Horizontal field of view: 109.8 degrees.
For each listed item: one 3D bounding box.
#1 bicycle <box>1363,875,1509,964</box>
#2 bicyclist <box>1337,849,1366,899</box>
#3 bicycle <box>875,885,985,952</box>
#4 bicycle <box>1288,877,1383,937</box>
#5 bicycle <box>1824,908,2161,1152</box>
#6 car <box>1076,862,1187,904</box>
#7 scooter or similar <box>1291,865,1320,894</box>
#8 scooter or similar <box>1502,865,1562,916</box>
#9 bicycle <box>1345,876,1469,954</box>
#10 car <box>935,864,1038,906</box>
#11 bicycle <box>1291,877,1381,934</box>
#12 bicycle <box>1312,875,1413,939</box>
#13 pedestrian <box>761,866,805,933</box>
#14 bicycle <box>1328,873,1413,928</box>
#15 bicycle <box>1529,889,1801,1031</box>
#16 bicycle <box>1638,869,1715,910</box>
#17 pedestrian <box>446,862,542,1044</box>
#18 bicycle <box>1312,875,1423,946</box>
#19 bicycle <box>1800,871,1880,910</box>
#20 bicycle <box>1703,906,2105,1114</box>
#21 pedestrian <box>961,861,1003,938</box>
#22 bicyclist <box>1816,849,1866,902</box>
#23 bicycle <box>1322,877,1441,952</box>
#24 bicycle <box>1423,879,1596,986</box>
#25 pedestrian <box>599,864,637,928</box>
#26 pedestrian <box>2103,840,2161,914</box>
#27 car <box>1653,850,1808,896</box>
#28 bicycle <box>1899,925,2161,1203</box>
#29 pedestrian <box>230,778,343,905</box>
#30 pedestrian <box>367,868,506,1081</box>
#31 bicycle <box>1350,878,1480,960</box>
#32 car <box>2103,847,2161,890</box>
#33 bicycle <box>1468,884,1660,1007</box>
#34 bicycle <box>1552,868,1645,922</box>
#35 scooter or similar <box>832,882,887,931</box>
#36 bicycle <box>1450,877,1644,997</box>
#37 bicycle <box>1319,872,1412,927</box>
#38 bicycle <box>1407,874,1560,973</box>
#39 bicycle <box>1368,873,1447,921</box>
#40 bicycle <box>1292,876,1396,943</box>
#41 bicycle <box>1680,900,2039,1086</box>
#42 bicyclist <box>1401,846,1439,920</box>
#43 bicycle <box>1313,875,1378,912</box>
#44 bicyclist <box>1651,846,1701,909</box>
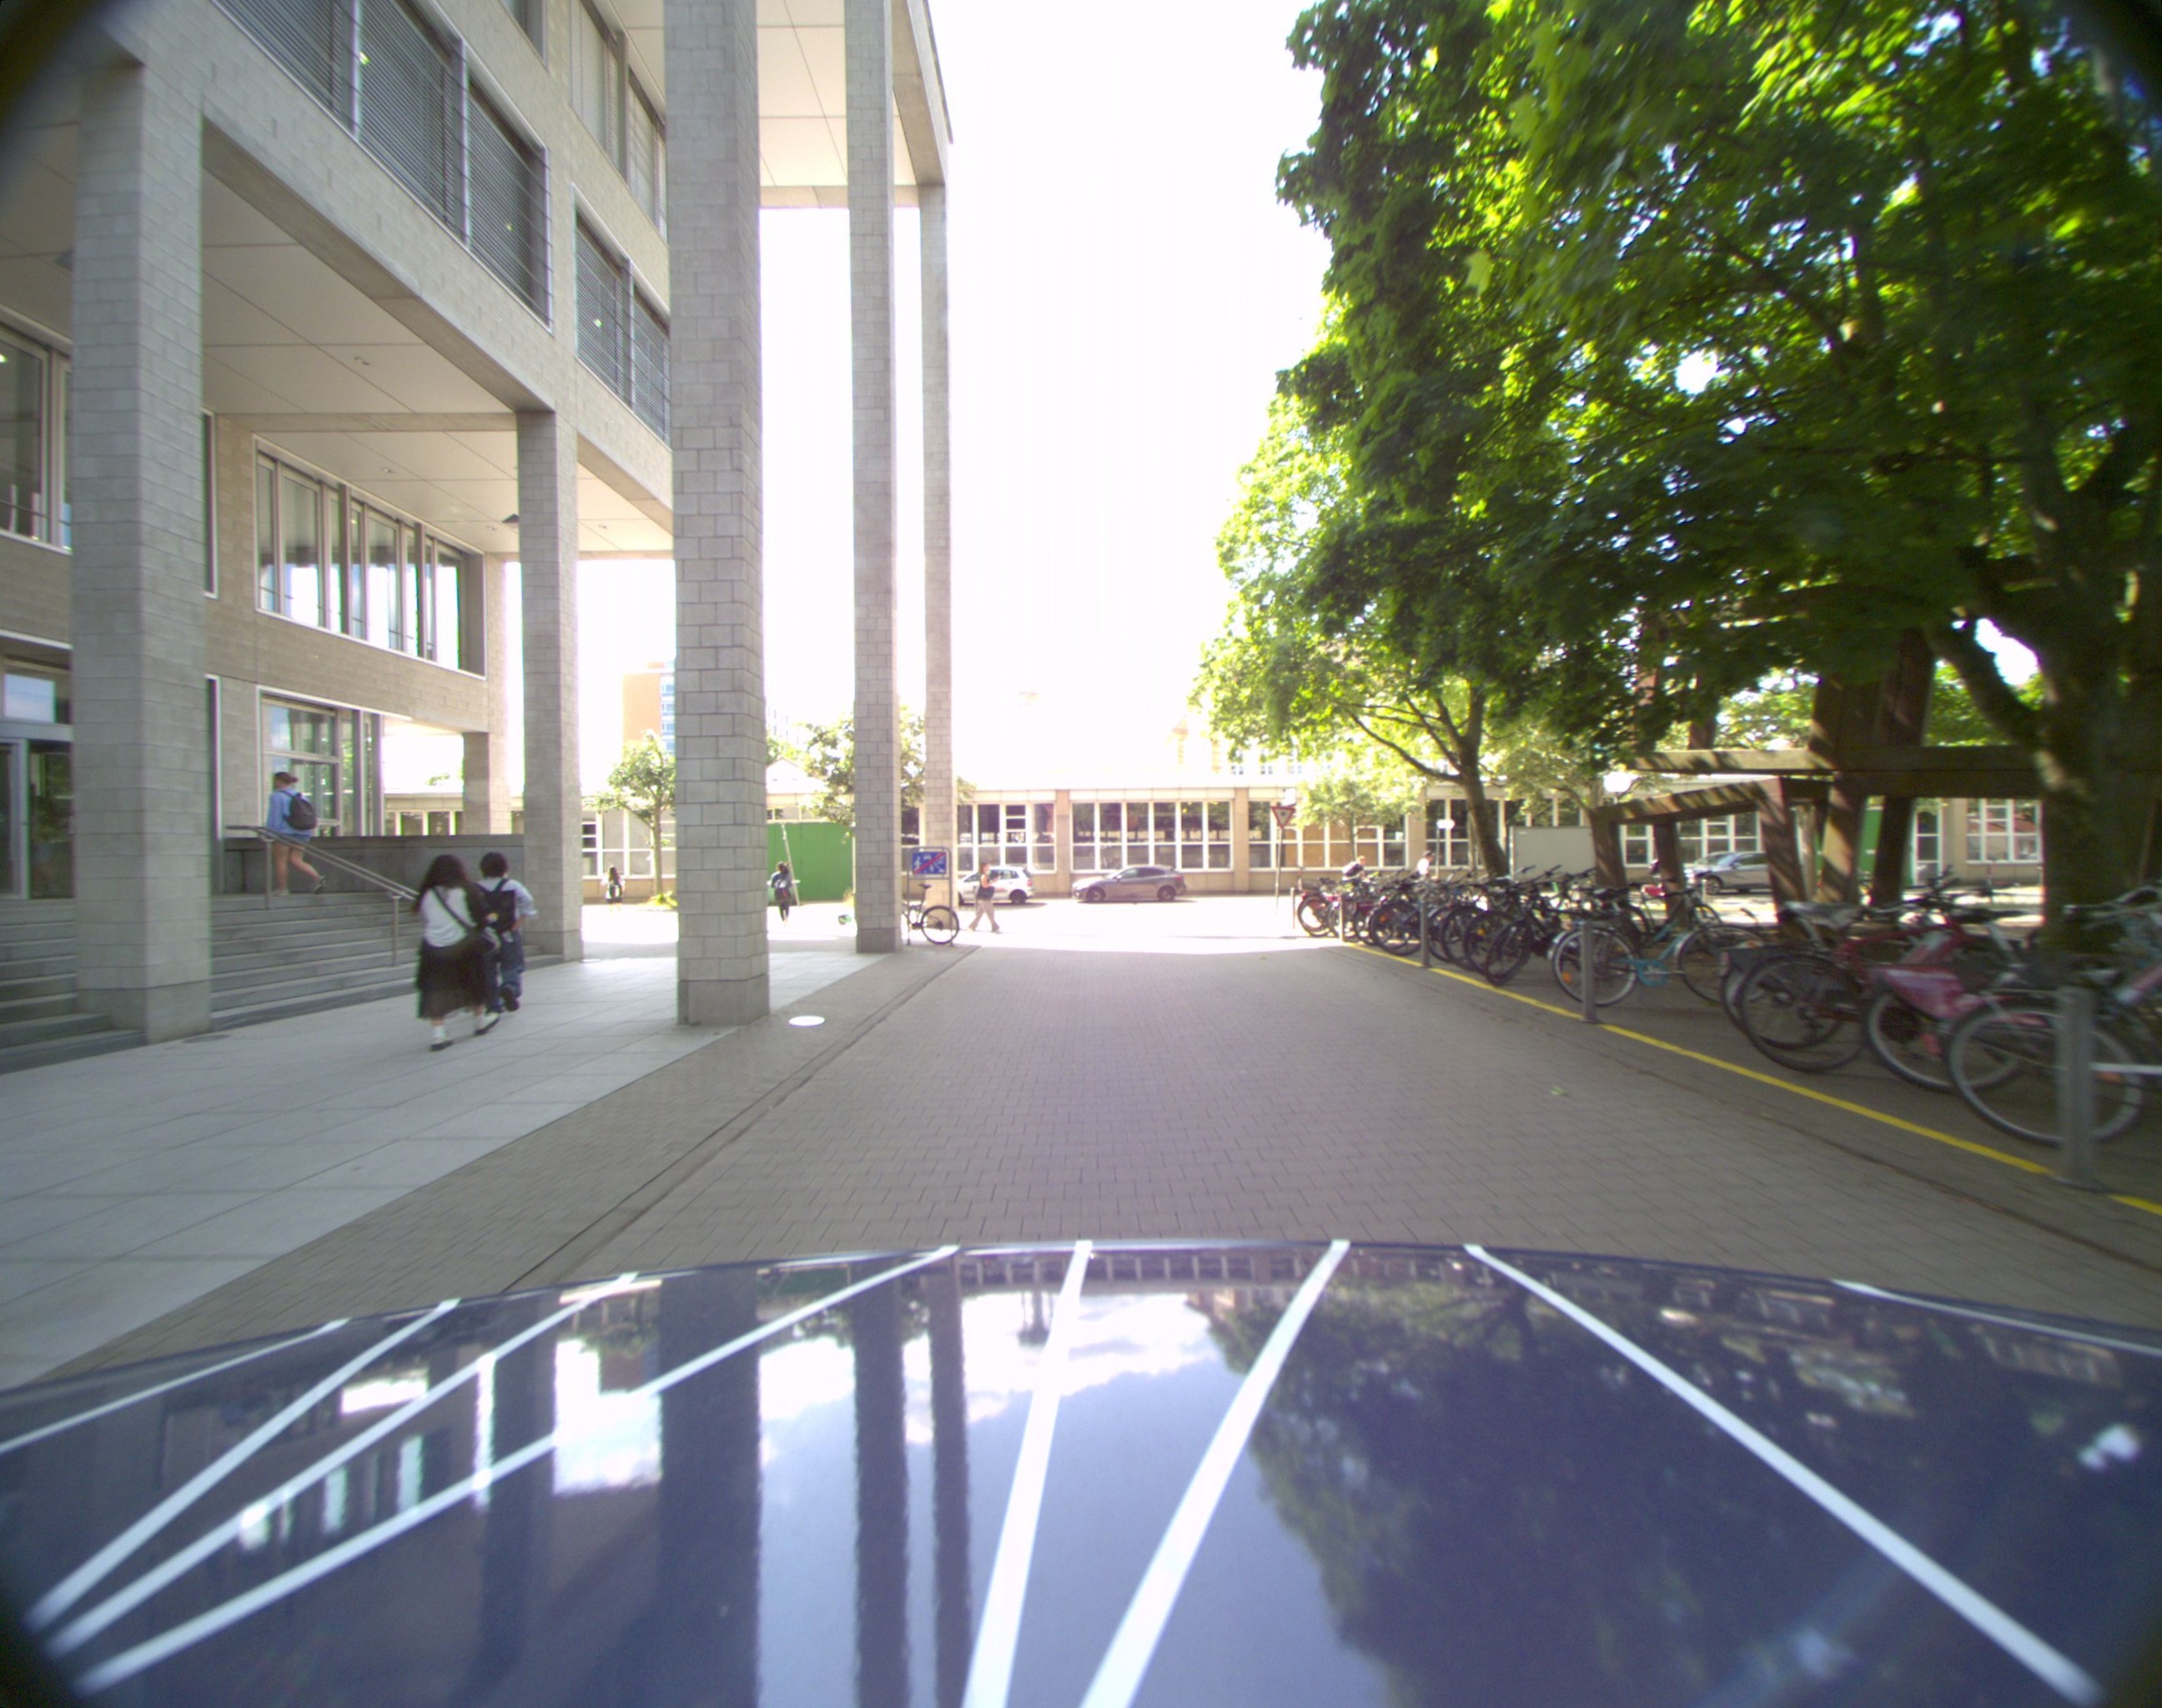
[{"bbox_3d":[4.754,0.870,10.271,1.628,1.101,0.691,-2,1,5],"label":"bicycle"},{"bbox_3d":[8.441,0.625,23.730,0.727,1.526,0.605,-1,2,2],"label":"bicyclist"},{"bbox_3d":[-2.694,1.155,13.690,1.886,1.157,0.605,1,-1,-4],"label":"bicycle"},{"bbox_3d":[4.844,1.004,14.497,1.628,1.101,0.497,-1,-1,0],"label":"bicycle"},{"bbox_3d":[5.055,0.881,3.973,1.627,1.137,0.497,-2,1,14],"label":"bicycle"},{"bbox_3d":[1.929,1.120,29.865,4.208,1.468,1.653,-2,2,0],"label":"car"},{"bbox_3d":[9.650,1.106,32.635,1.157,1.219,0.290,-1,0,4],"label":"scooter or similar"},{"bbox_3d":[10.664,0.855,17.965,1.182,1.187,0.293,-1,0,36],"label":"scooter or similar"},{"bbox_3d":[4.924,0.924,11.538,1.628,1.101,0.506,-2,1,5],"label":"bicycle"},{"bbox_3d":[-3.630,1.200,29.748,3.776,1.468,1.653,-1,2,0],"label":"car"},{"bbox_3d":[5.155,1.028,15.389,1.628,1.101,0.497,-1,-1,0],"label":"bicycle"},{"bbox_3d":[5.051,0.954,13.718,1.627,1.101,0.497,-1,-2,12],"label":"bicycle"},{"bbox_3d":[-7.190,1.077,18.382,0.820,1.565,0.880,-1,0,-12],"label":"pedestrian"},{"bbox_3d":[6.290,0.998,16.513,1.625,1.152,0.641,-2,-2,29],"label":"bicycle"},{"bbox_3d":[4.999,0.895,6.625,1.724,1.101,0.719,-2,1,11],"label":"bicycle"},{"bbox_3d":[18.261,1.083,23.319,1.886,1.134,0.674,-2,1,-4],"label":"bicycle"},{"bbox_3d":[-5.808,0.917,7.540,0.676,1.660,0.897,-2,1,-37],"label":"pedestrian"},{"bbox_3d":[4.759,0.941,12.673,1.628,1.101,0.497,-2,1,5],"label":"bicycle"},{"bbox_3d":[22.844,1.082,22.868,1.818,1.102,0.640,-1,2,-3],"label":"bicycle"},{"bbox_3d":[4.854,0.895,4.586,1.627,1.101,0.497,-2,1,14],"label":"bicycle"},{"bbox_3d":[-2.172,0.978,16.747,0.882,1.645,0.702,-1,0,-5],"label":"pedestrian"},{"bbox_3d":[22.846,0.632,22.849,0.874,1.565,0.640,-1,2,-3],"label":"bicyclist"},{"bbox_3d":[4.755,0.948,12.110,1.628,1.101,0.629,-2,1,5],"label":"bicycle"},{"bbox_3d":[4.891,0.875,8.717,1.629,1.101,0.645,-2,1,-4],"label":"bicycle"},{"bbox_3d":[-12.840,1.140,21.054,0.781,1.714,0.858,-1,0,-38],"label":"pedestrian"},{"bbox_3d":[24.509,0.514,17.531,0.874,1.674,0.728,-1,0,-3],"label":"pedestrian"},{"bbox_3d":[25.305,0.716,29.701,4.536,1.608,1.838,-1,1,-1],"label":"car"},{"bbox_3d":[4.908,0.893,3.321,1.737,1.101,0.575,-2,1,20],"label":"bicycle"},{"bbox_3d":[-11.096,-0.164,10.637,0.866,1.714,0.644,-1,0,-6],"label":"pedestrian"},{"bbox_3d":[-5.340,0.934,6.350,0.809,1.608,0.739,-1,1,-36],"label":"pedestrian"},{"bbox_3d":[4.803,0.931,10.992,1.628,1.101,0.497,-2,1,5],"label":"bicycle"},{"bbox_3d":[42.965,0.506,29.368,4.536,1.624,1.838,-1,0,-2],"label":"car"},{"bbox_3d":[4.802,0.885,7.587,1.629,1.101,0.497,-2,1,-4],"label":"bicycle"},{"bbox_3d":[11.388,0.890,16.728,1.839,1.101,0.393,-2,1,-6],"label":"bicycle"},{"bbox_3d":[-5.286,1.249,18.178,1.157,1.144,0.444,-1,0,5],"label":"scooter or similar"},{"bbox_3d":[4.932,0.859,8.081,1.784,1.155,0.497,-2,1,-4],"label":"bicycle"},{"bbox_3d":[5.969,0.958,15.980,1.742,1.101,0.591,-2,-2,29],"label":"bicycle"},{"bbox_3d":[4.999,0.853,9.484,1.628,1.144,0.497,-2,1,1],"label":"bicycle"},{"bbox_3d":[8.565,1.106,19.997,1.882,1.165,0.806,0,1,22],"label":"bicycle"},{"bbox_3d":[4.564,0.959,13.246,1.628,1.101,0.497,-2,1,5],"label":"bicycle"},{"bbox_3d":[5.135,0.890,5.120,1.627,1.101,0.563,-2,1,14],"label":"bicycle"},{"bbox_3d":[8.845,0.747,19.858,0.865,1.881,0.806,0,2,22],"label":"bicyclist"},{"bbox_3d":[8.253,1.226,23.754,1.829,1.102,0.605,-1,2,2],"label":"bicycle"},{"bbox_3d":[18.241,0.706,23.309,0.969,1.877,0.674,-2,2,-5],"label":"bicyclist"}]
